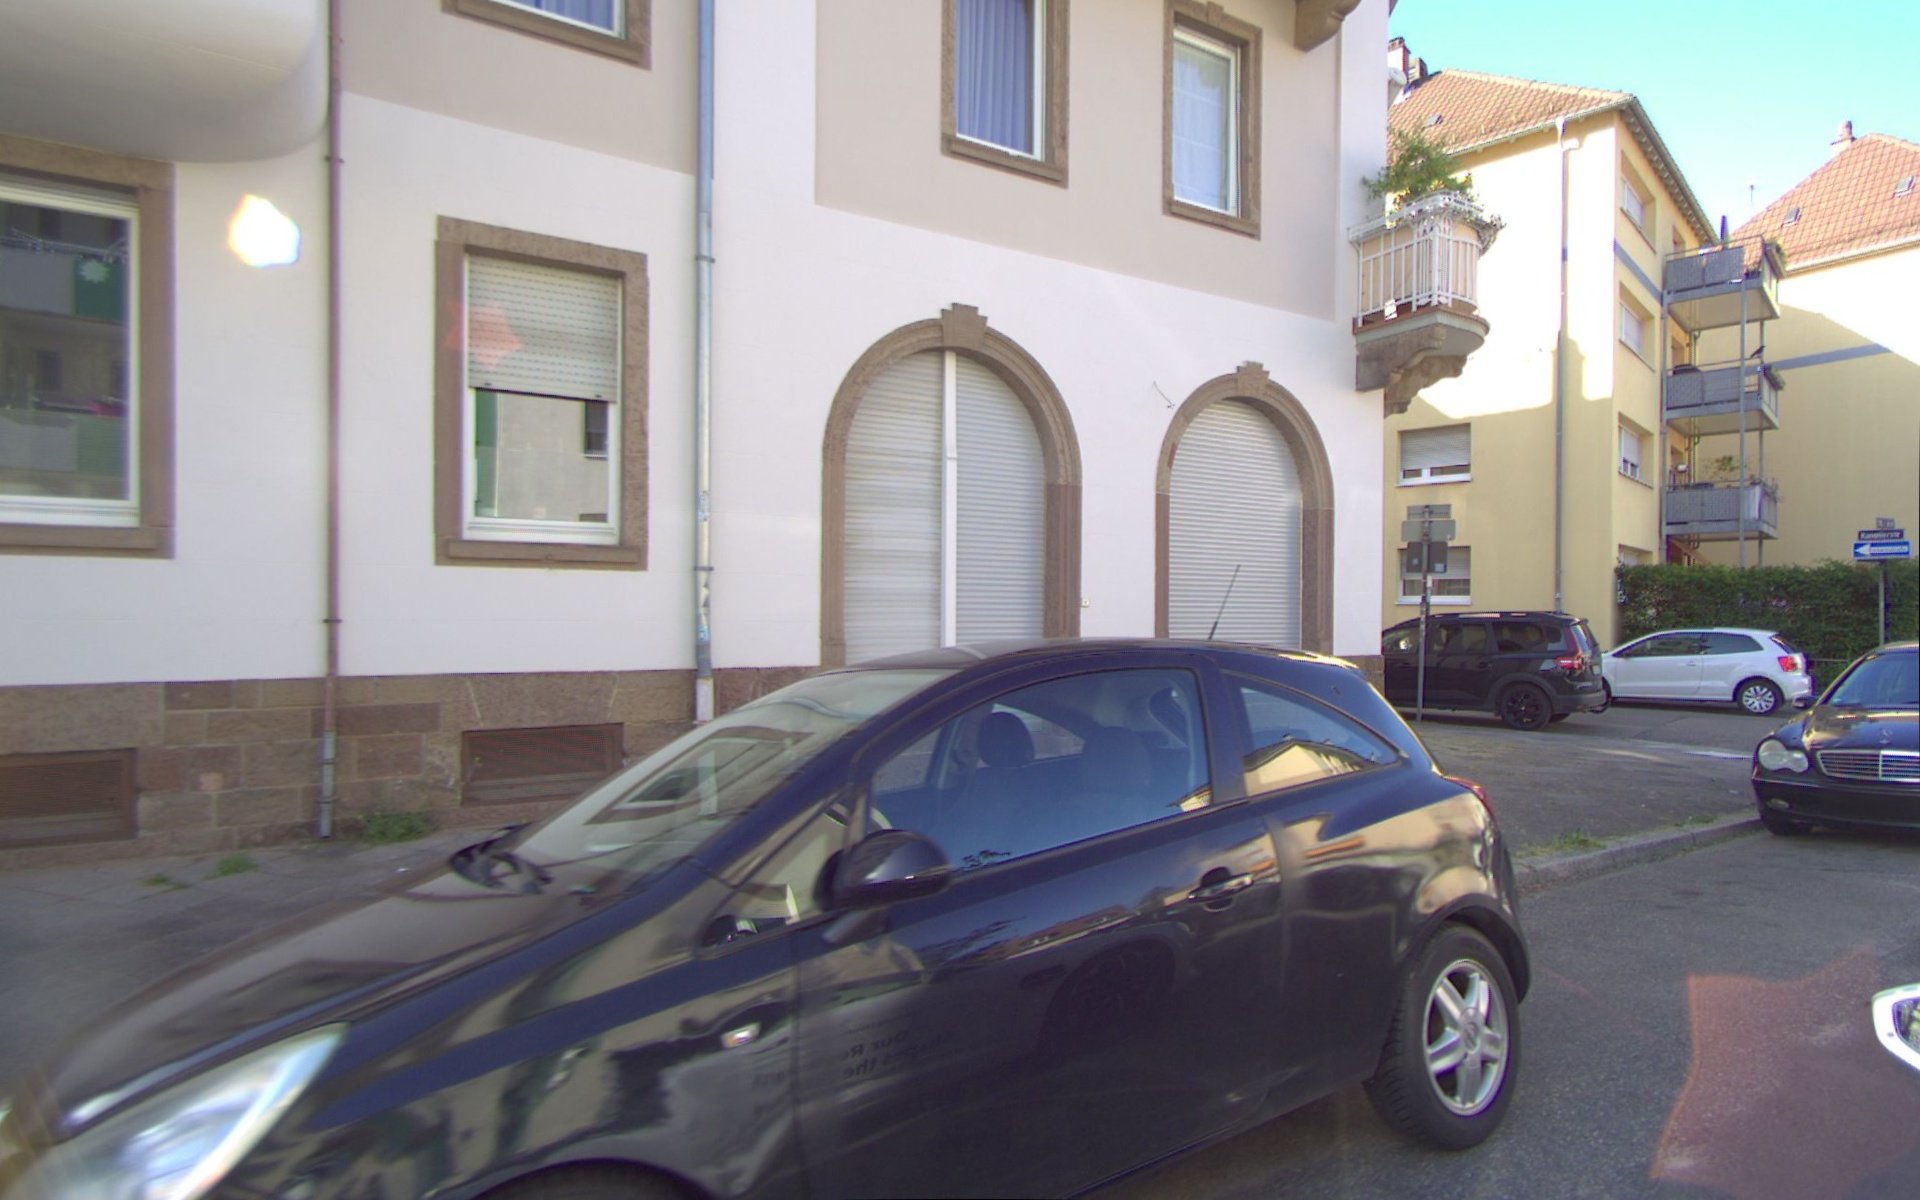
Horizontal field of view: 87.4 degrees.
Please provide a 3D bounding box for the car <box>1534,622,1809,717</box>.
[{"bbox_3d":[12.865,1.179,18.302,3.936,1.499,1.586,0,-1,43],"label":"car"}]

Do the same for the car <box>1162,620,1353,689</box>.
[{"bbox_3d":[6.989,1.218,23.841,4.062,1.465,1.680,0,-1,43],"label":"car"}]

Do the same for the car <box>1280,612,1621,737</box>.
[{"bbox_3d":[7.408,1.017,15.447,4.415,1.637,1.768,0,-1,43],"label":"car"}]

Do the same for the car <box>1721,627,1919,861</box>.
[{"bbox_3d":[7.643,0.950,7.504,4.327,1.434,1.695,2,-5,-33],"label":"car"}]

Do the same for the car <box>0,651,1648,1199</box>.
[{"bbox_3d":[0.069,0.902,2.862,4.037,1.434,1.637,2,-5,-33],"label":"car"}]
